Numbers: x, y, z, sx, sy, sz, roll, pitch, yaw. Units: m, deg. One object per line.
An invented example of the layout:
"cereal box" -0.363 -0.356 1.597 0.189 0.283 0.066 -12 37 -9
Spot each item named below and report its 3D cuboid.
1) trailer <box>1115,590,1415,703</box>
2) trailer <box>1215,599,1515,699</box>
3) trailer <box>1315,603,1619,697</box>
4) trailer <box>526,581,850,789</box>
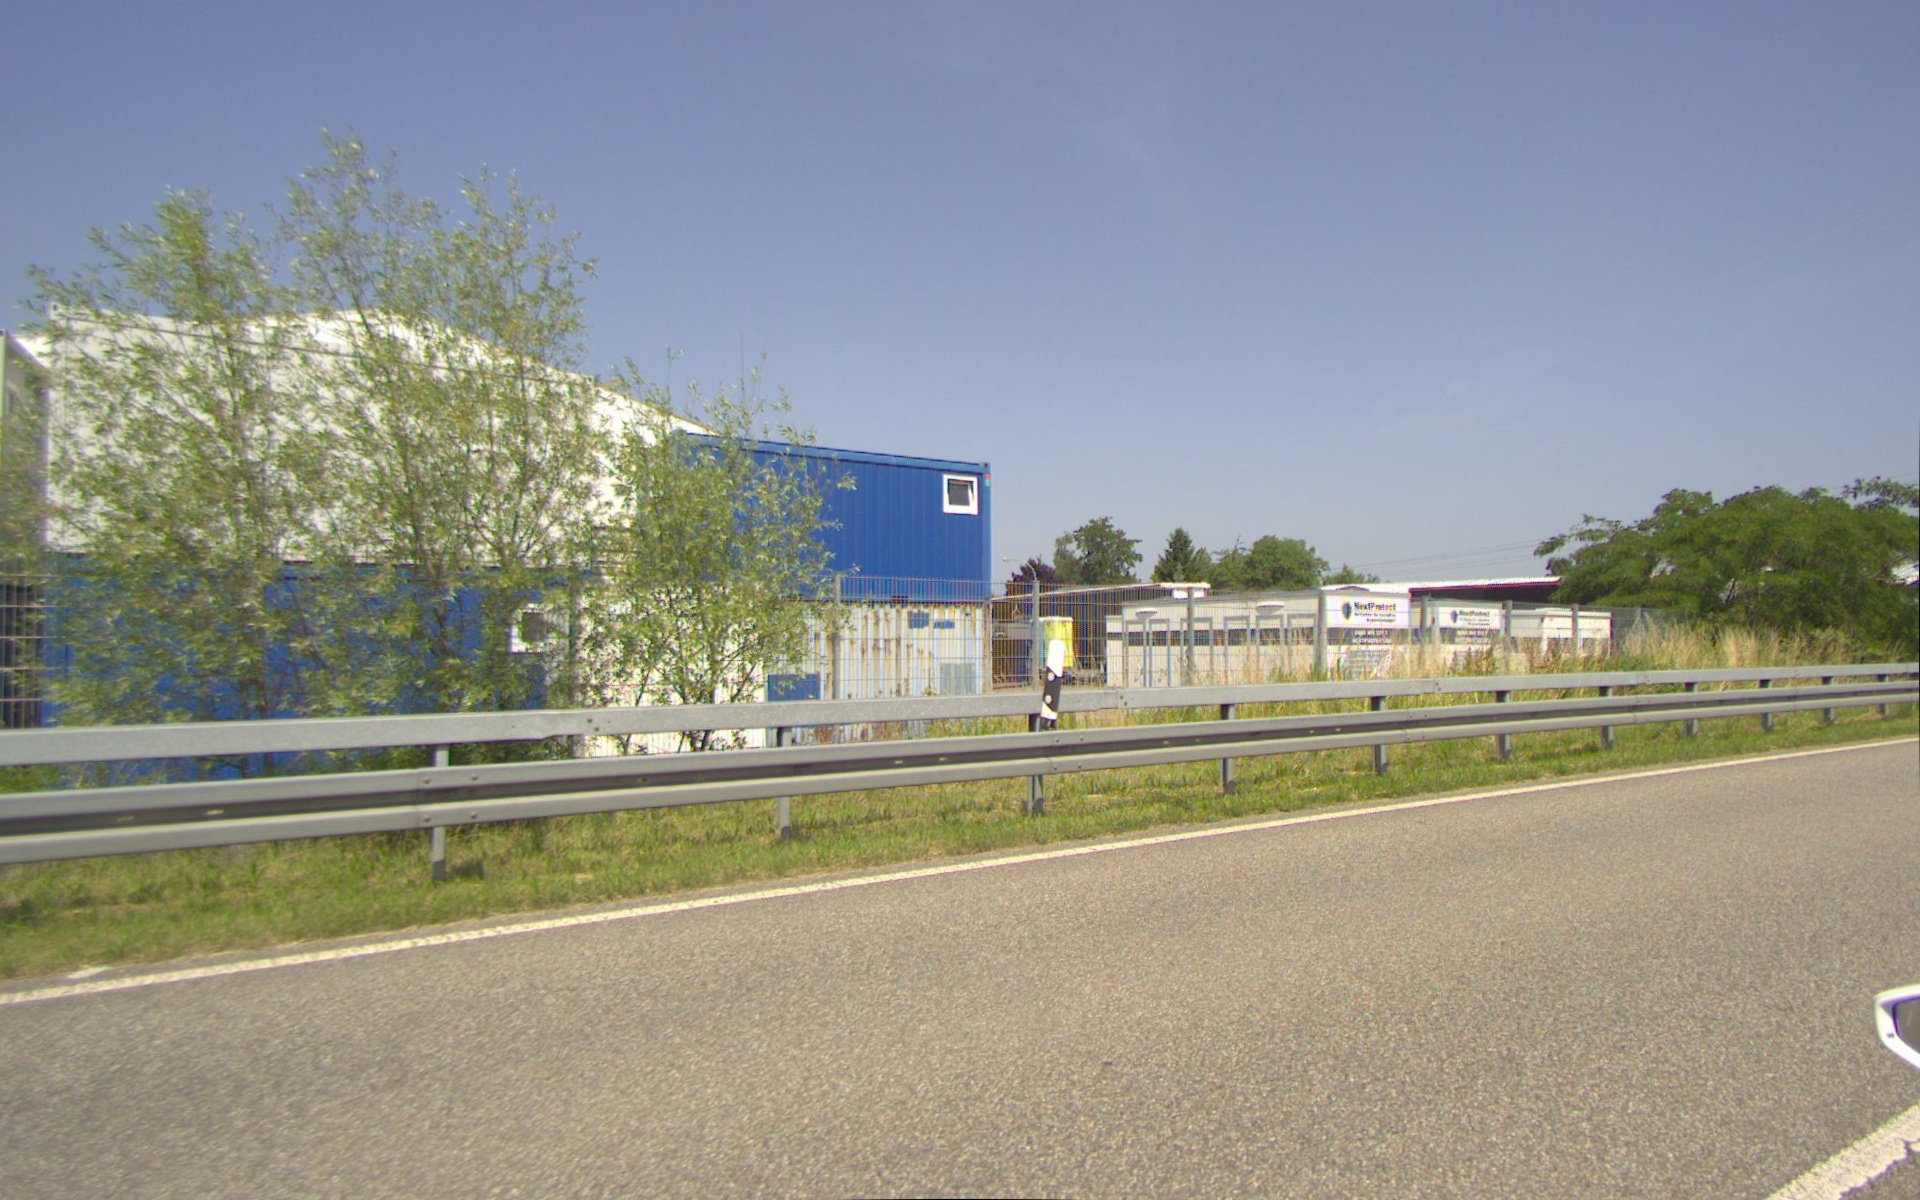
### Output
"trailer" 5.709 0.792 19.633 2.514 1.873 5.361 1 -1 -30
"trailer" 8.118 0.890 20.817 2.454 1.767 5.503 1 -1 -28
"trailer" 10.647 0.951 21.651 2.452 1.743 5.506 1 -1 -27
"trailer" -3.720 1.041 13.886 3.881 2.470 1.981 1 0 -34
